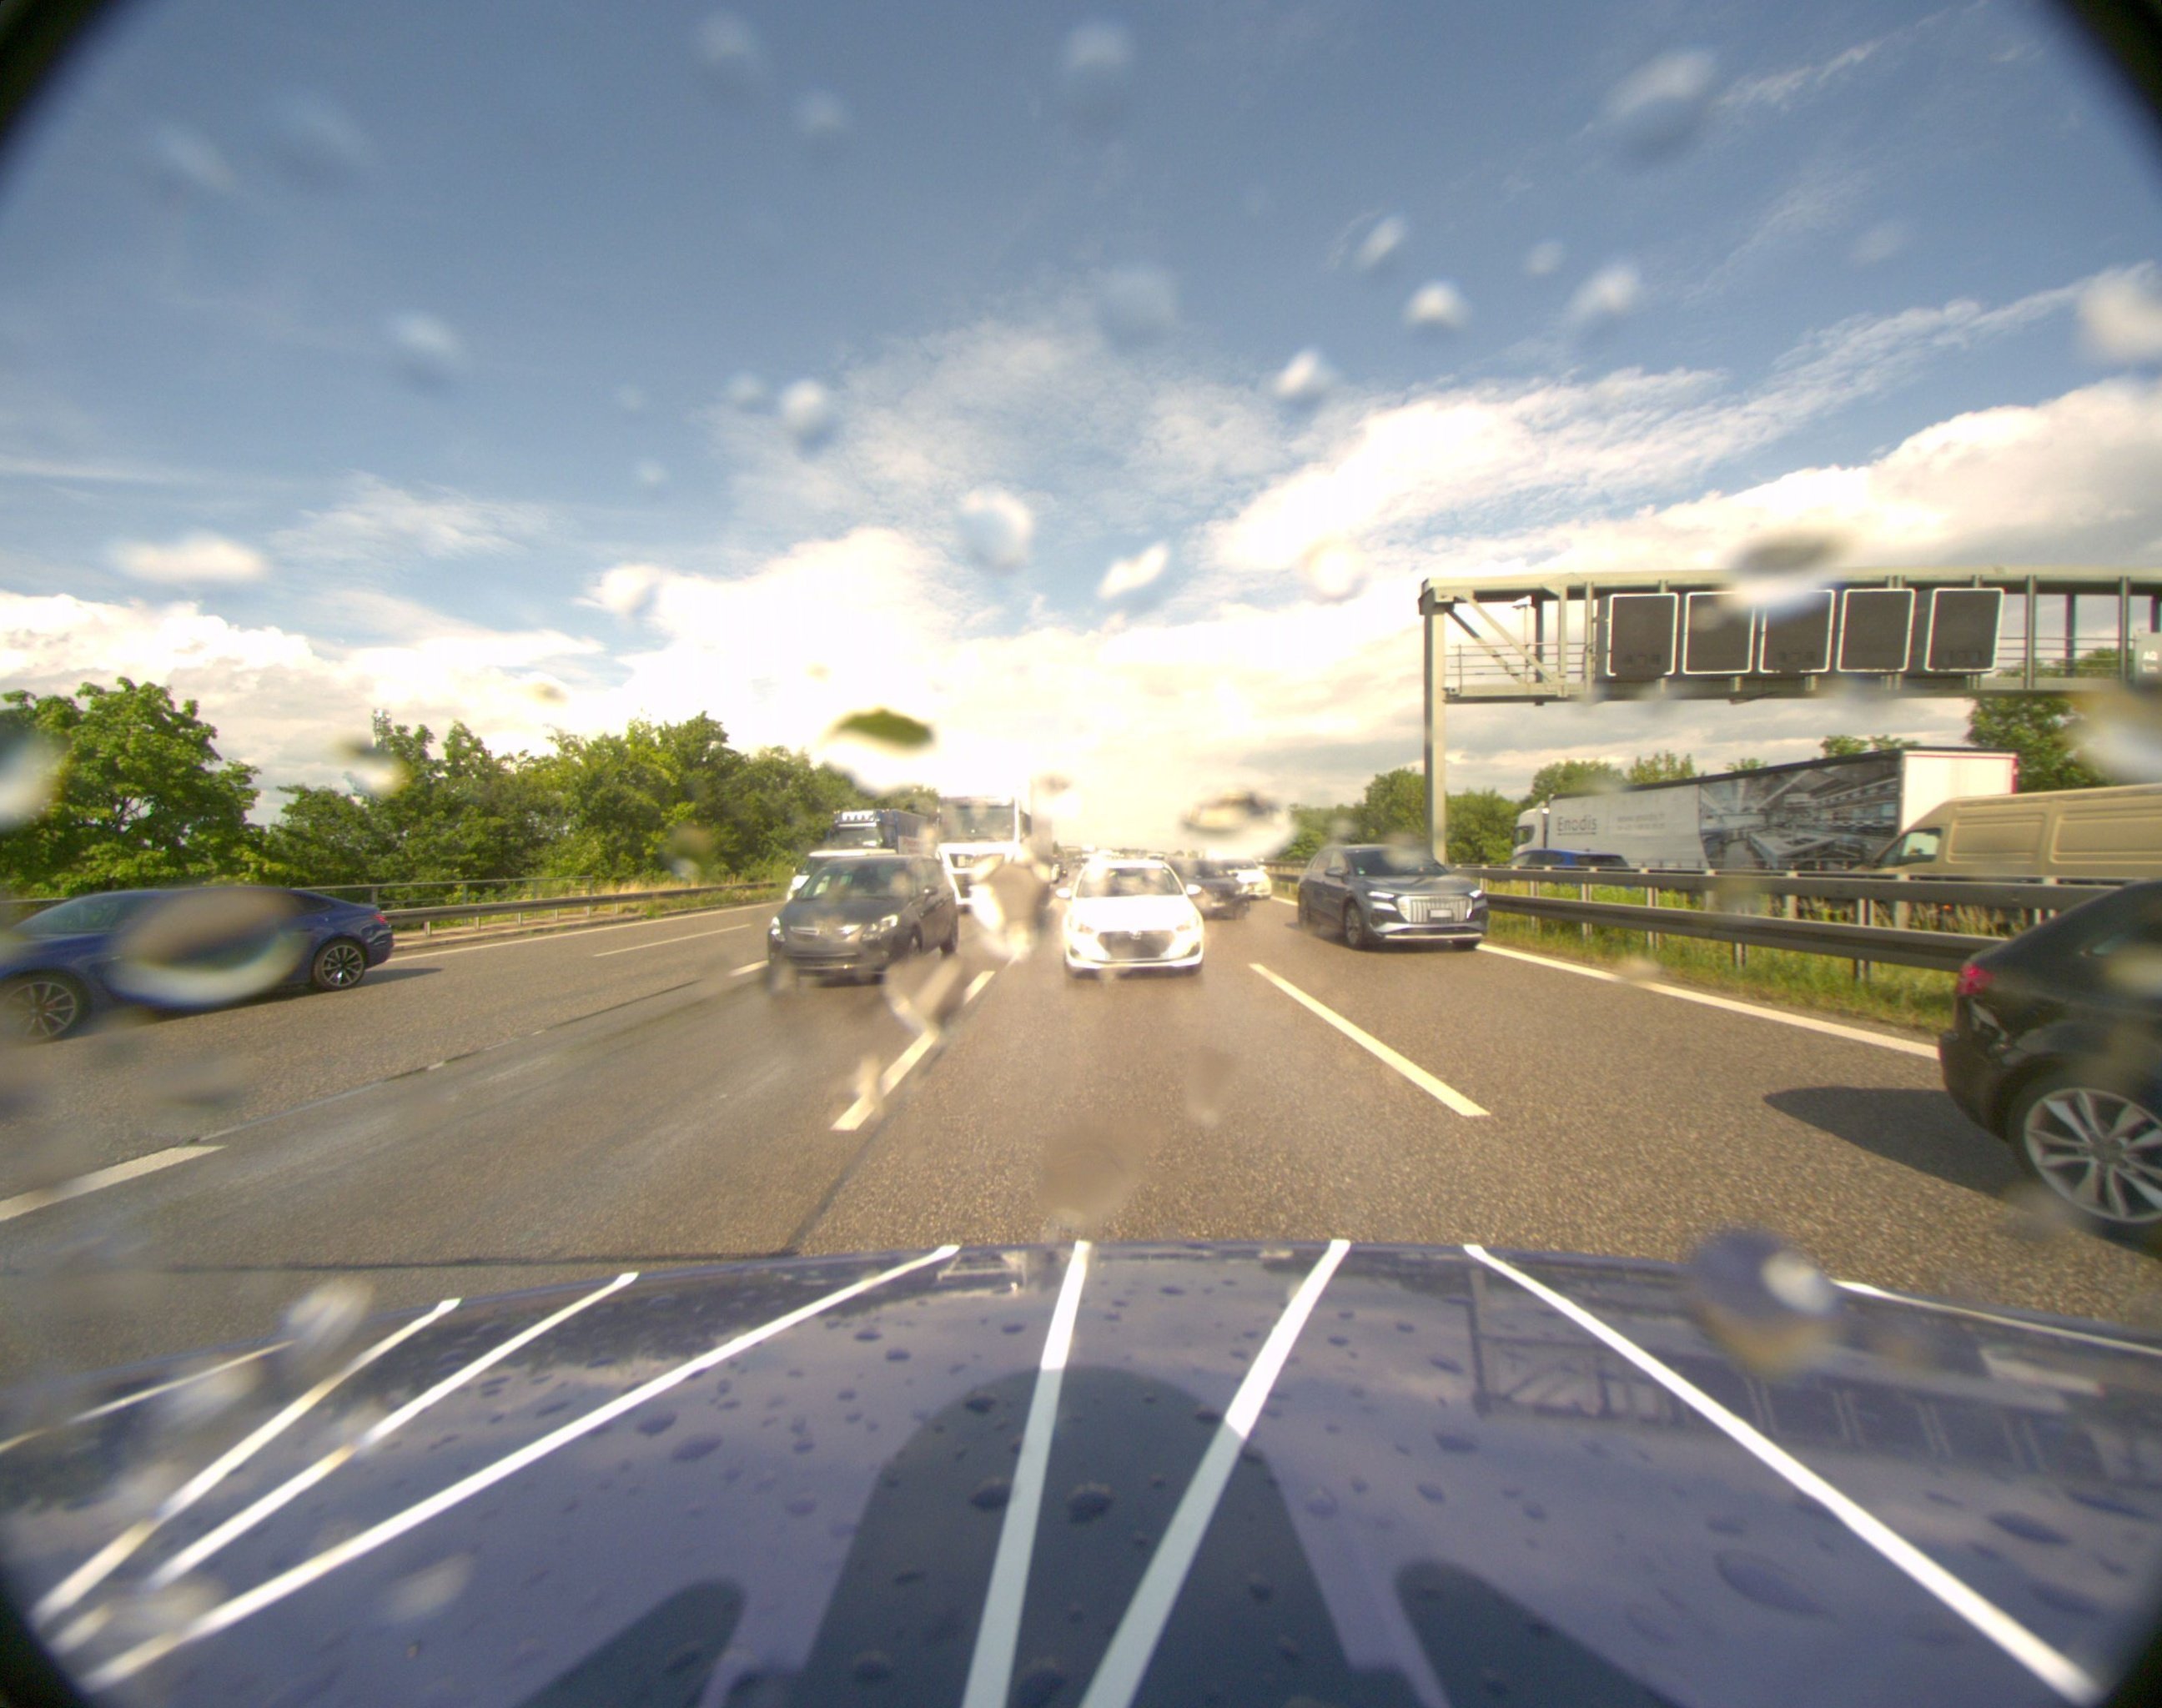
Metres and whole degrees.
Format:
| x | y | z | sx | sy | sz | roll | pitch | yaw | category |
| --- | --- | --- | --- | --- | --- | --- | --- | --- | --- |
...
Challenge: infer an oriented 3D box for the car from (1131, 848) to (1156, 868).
| x | y | z | sx | sy | sz | roll | pitch | yaw | category |
| --- | --- | --- | --- | --- | --- | --- | --- | --- | --- |
| 5.774 | 0.386 | 70.879 | 1.998 | 1.687 | 3.999 | -3 | 1 | 1 | car |

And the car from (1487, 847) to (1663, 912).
| x | y | z | sx | sy | sz | roll | pitch | yaw | category |
| --- | --- | --- | --- | --- | --- | --- | --- | --- | --- |
| 12.857 | 0.584 | 20.132 | 1.998 | 1.452 | 4.097 | -3 | 1 | 1 | car |

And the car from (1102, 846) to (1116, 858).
| x | y | z | sx | sy | sz | roll | pitch | yaw | category |
| --- | --- | --- | --- | --- | --- | --- | --- | --- | --- |
| 4.272 | -0.357 | 115.917 | 1.998 | 1.687 | 3.999 | -3 | 1 | 1 | car |

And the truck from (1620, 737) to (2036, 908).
| x | y | z | sx | sy | sz | roll | pitch | yaw | category |
| --- | --- | --- | --- | --- | --- | --- | --- | --- | --- |
| 20.357 | -0.802 | 22.040 | 2.855 | 3.831 | 9.420 | -1 | 1 | 1 | truck |

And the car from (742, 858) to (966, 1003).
| x | y | z | sx | sy | sz | roll | pitch | yaw | category |
| --- | --- | --- | --- | --- | --- | --- | --- | --- | --- |
| -3.003 | 0.908 | 11.139 | 1.883 | 1.638 | 4.396 | -1 | 0 | 1 | car |

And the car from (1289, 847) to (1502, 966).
| x | y | z | sx | sy | sz | roll | pitch | yaw | category |
| --- | --- | --- | --- | --- | --- | --- | --- | --- | --- |
| 4.925 | 0.713 | 12.626 | 1.875 | 1.597 | 4.229 | -1 | 0 | 2 | car |

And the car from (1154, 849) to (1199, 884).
| x | y | z | sx | sy | sz | roll | pitch | yaw | category |
| --- | --- | --- | --- | --- | --- | --- | --- | --- | --- |
| 5.383 | 0.648 | 43.136 | 1.998 | 1.739 | 3.999 | -3 | 1 | 1 | car |

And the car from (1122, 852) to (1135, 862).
| x | y | z | sx | sy | sz | roll | pitch | yaw | category |
| --- | --- | --- | --- | --- | --- | --- | --- | --- | --- |
| 8.819 | 0.499 | 141.618 | 1.998 | 1.687 | 3.999 | -3 | 1 | 1 | car |

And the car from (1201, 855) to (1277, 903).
| x | y | z | sx | sy | sz | roll | pitch | yaw | category |
| --- | --- | --- | --- | --- | --- | --- | --- | --- | --- |
| 5.212 | 0.790 | 25.549 | 1.771 | 1.371 | 3.999 | -1 | 1 | 0 | car |

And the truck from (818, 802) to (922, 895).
| x | y | z | sx | sy | sz | roll | pitch | yaw | category |
| --- | --- | --- | --- | --- | --- | --- | --- | --- | --- |
| -9.734 | -0.268 | 35.788 | 3.112 | 3.931 | 5.866 | -1 | 1 | 0 | truck |

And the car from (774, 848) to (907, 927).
| x | y | z | sx | sy | sz | roll | pitch | yaw | category |
| --- | --- | --- | --- | --- | --- | --- | --- | --- | --- |
| -6.450 | 0.804 | 21.114 | 1.955 | 1.875 | 5.167 | -1 | 1 | 1 | car |

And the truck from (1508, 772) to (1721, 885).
| x | y | z | sx | sy | sz | roll | pitch | yaw | category |
| --- | --- | --- | --- | --- | --- | --- | --- | --- | --- |
| 20.417 | -0.954 | 29.859 | 2.869 | 3.799 | 7.876 | -1 | 1 | 1 | truck |

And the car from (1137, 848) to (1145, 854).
| x | y | z | sx | sy | sz | roll | pitch | yaw | category |
| --- | --- | --- | --- | --- | --- | --- | --- | --- | --- |
| 16.264 | -0.839 | 206.901 | 1.998 | 1.768 | 4.461 | -1 | 0 | 1 | car |

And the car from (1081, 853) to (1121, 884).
| x | y | z | sx | sy | sz | roll | pitch | yaw | category |
| --- | --- | --- | --- | --- | --- | --- | --- | --- | --- |
| 1.045 | 0.761 | 40.792 | 1.998 | 1.477 | 3.999 | -1 | 1 | 0 | car |

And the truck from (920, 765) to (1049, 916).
| x | y | z | sx | sy | sz | roll | pitch | yaw | category |
| --- | --- | --- | --- | --- | --- | --- | --- | --- | --- |
| -2.832 | -0.387 | 24.771 | 2.817 | 4.082 | 7.446 | -2 | 1 | 2 | truck |

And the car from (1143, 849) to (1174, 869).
| x | y | z | sx | sy | sz | roll | pitch | yaw | category |
| --- | --- | --- | --- | --- | --- | --- | --- | --- | --- |
| 6.187 | 0.379 | 61.045 | 1.998 | 1.471 | 3.999 | -3 | 1 | 1 | car |

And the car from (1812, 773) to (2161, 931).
| x | y | z | sx | sy | sz | roll | pitch | yaw | category |
| --- | --- | --- | --- | --- | --- | --- | --- | --- | --- |
| 16.073 | -0.047 | 12.172 | 1.998 | 2.195 | 6.980 | -2 | 0 | 1 | car |

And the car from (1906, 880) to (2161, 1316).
| x | y | z | sx | sy | sz | roll | pitch | yaw | category |
| --- | --- | --- | --- | --- | --- | --- | --- | --- | --- |
| 4.503 | 0.849 | 1.292 | 1.771 | 1.417 | 4.139 | -2 | 0 | 2 | car |

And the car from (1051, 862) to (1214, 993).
| x | y | z | sx | sy | sz | roll | pitch | yaw | category |
| --- | --- | --- | --- | --- | --- | --- | --- | --- | --- |
| 0.639 | 0.887 | 11.187 | 1.886 | 1.446 | 4.548 | -1 | 0 | 1 | car |

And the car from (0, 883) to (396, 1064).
| x | y | z | sx | sy | sz | roll | pitch | yaw | category |
| --- | --- | --- | --- | --- | --- | --- | --- | --- | --- |
| -10.665 | 1.188 | 8.515 | 1.791 | 1.454 | 4.505 | -2 | 0 | 1 | car |

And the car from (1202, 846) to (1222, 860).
| x | y | z | sx | sy | sz | roll | pitch | yaw | category |
| --- | --- | --- | --- | --- | --- | --- | --- | --- | --- |
| 19.022 | -0.182 | 110.813 | 1.998 | 2.002 | 5.558 | 0 | 0 | 0 | car |

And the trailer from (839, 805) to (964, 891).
| x | y | z | sx | sy | sz | roll | pitch | yaw | category |
| --- | --- | --- | --- | --- | --- | --- | --- | --- | --- |
| -9.663 | -0.377 | 43.790 | 3.112 | 3.931 | 16.339 | -1 | 1 | 1 | trailer |

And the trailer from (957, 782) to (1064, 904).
| x | y | z | sx | sy | sz | roll | pitch | yaw | category |
| --- | --- | --- | --- | --- | --- | --- | --- | --- | --- |
| -2.540 | -0.433 | 31.797 | 2.790 | 4.082 | 11.539 | -2 | 0 | 3 | trailer |
